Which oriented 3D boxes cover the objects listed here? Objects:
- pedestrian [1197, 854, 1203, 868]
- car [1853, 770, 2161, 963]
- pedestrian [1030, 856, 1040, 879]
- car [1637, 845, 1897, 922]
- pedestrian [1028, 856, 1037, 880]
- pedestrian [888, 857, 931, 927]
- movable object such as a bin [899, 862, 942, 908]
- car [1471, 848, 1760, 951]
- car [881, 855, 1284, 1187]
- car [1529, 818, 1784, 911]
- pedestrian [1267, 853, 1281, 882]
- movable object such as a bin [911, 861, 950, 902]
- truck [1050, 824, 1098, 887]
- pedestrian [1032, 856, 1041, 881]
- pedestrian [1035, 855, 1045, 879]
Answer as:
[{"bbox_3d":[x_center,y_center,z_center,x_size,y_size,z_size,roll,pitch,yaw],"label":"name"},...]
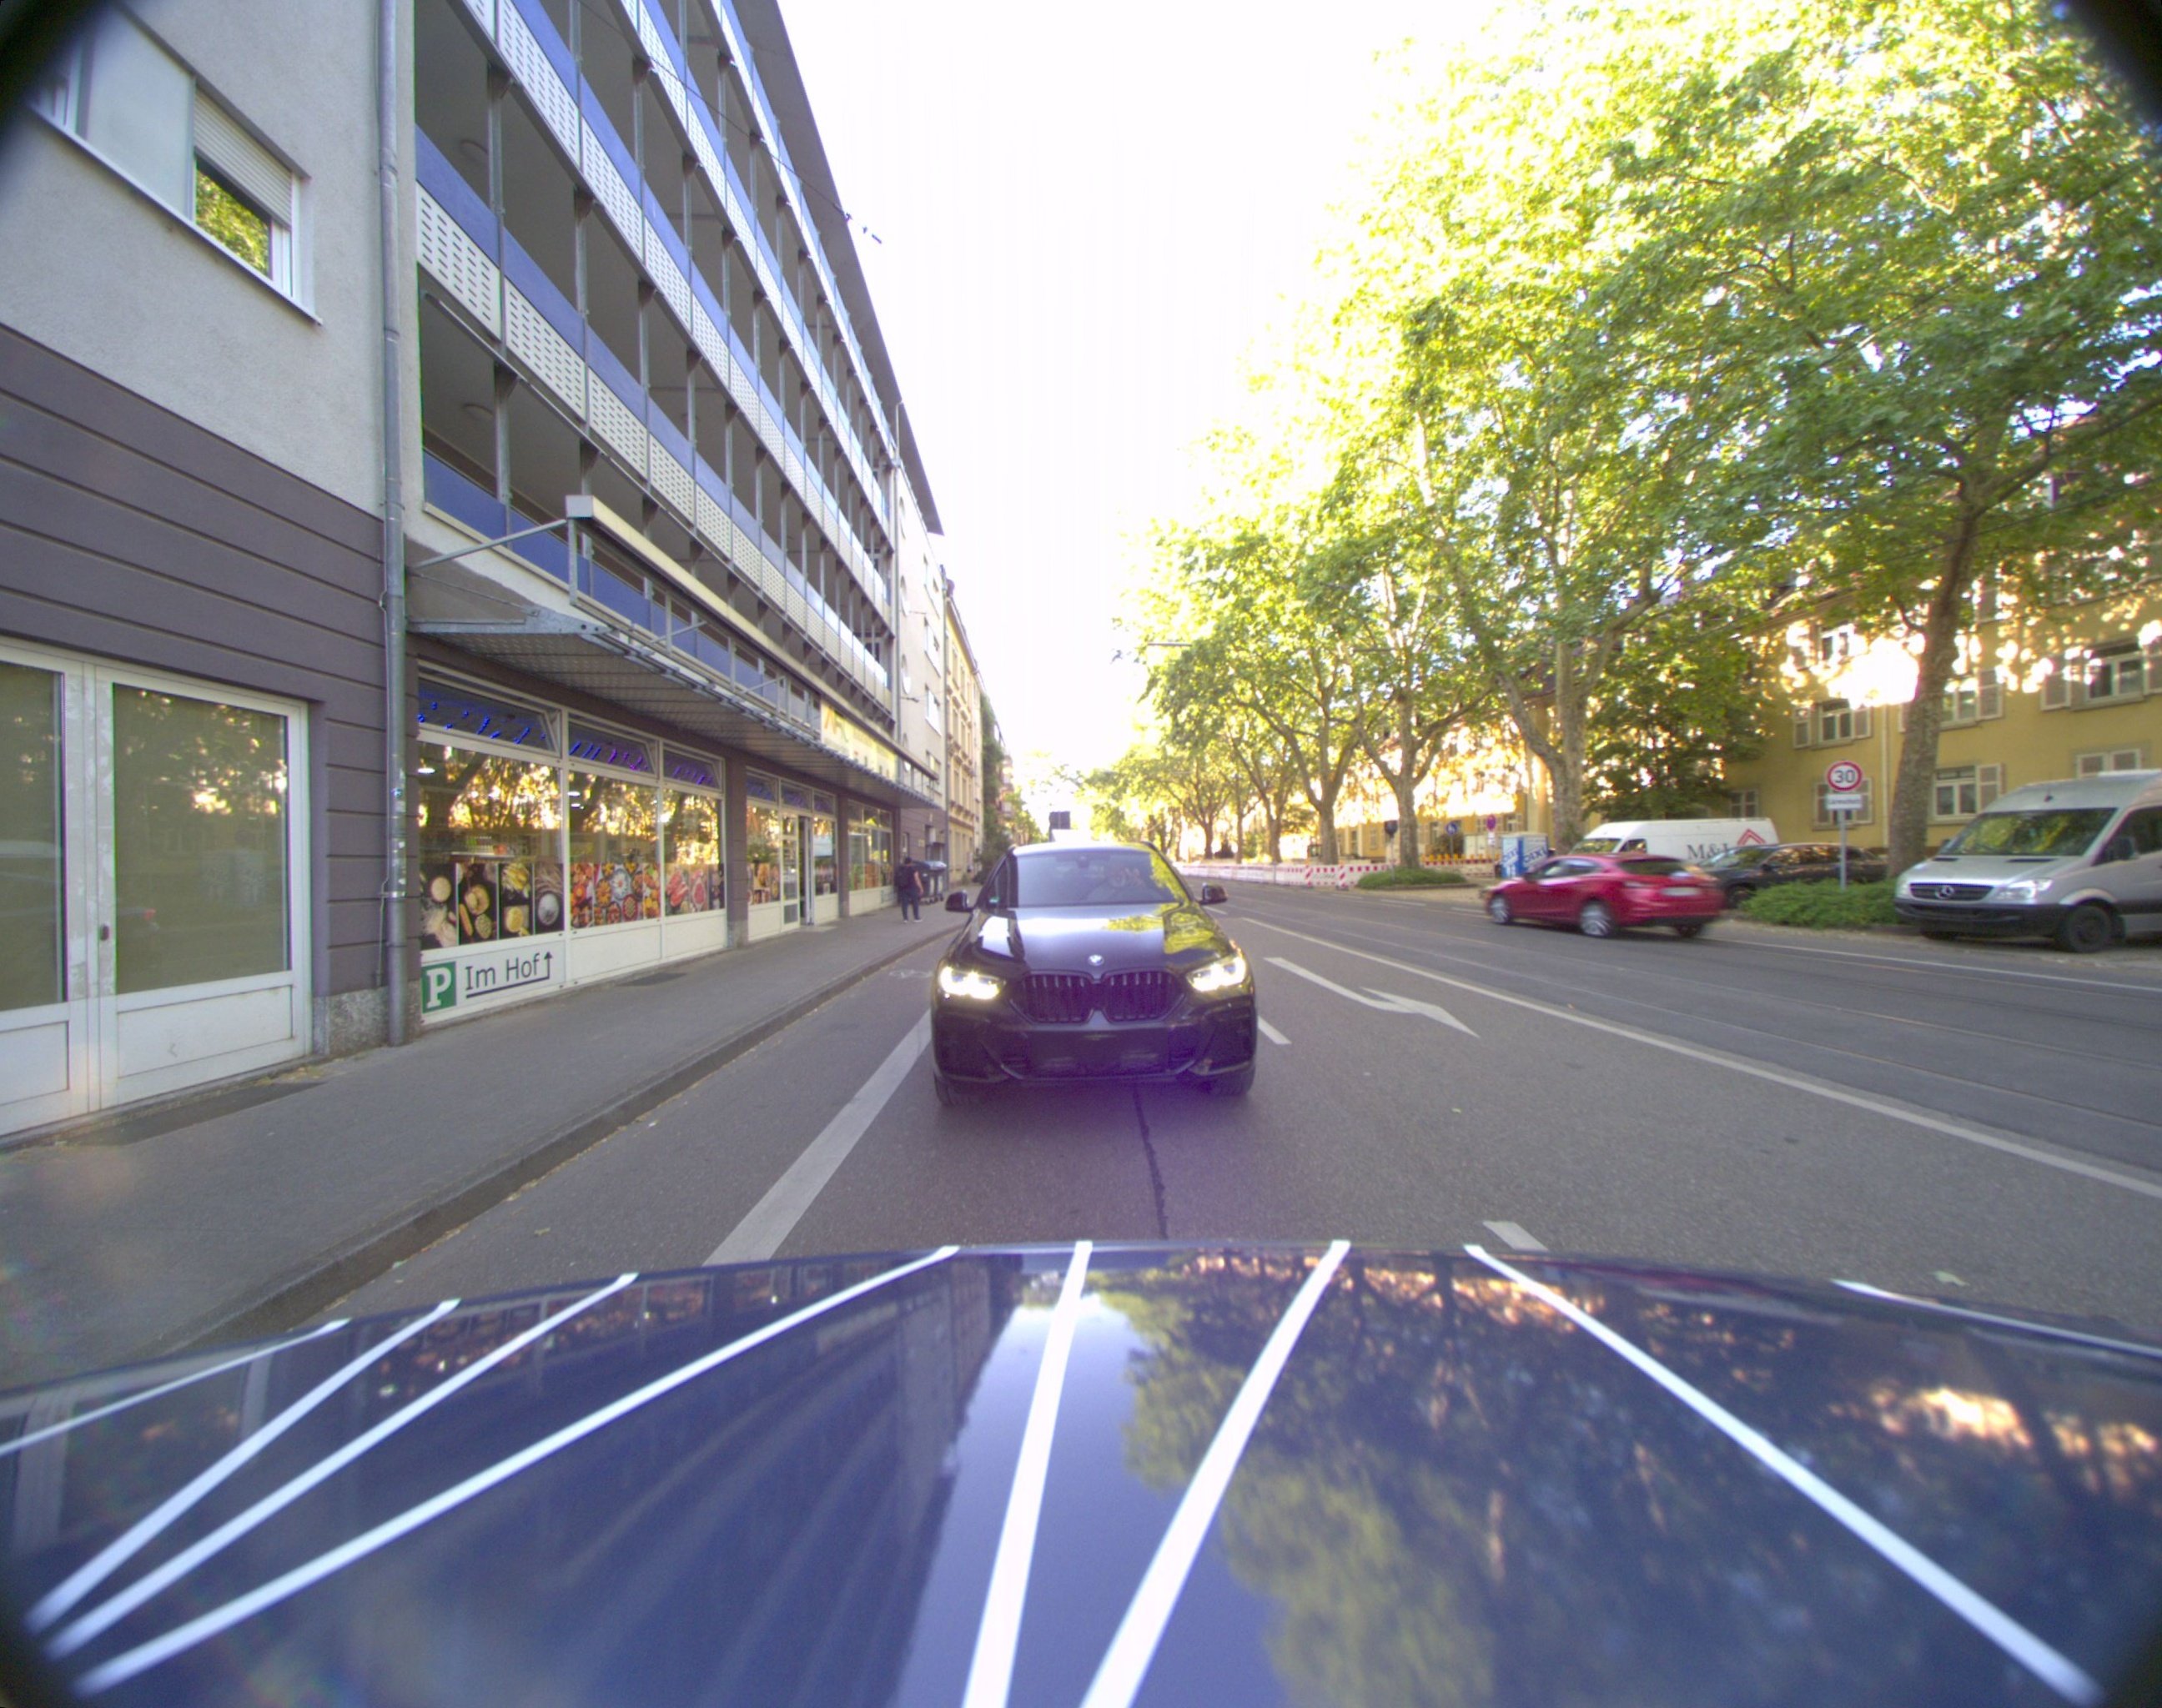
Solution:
[{"bbox_3d":[16.027,0.959,102.554,0.732,1.875,0.665,-2,1,8],"label":"pedestrian"},{"bbox_3d":[15.981,0.125,11.863,5.666,2.666,2.223,-2,0,-2],"label":"car"},{"bbox_3d":[-3.897,1.104,63.857,0.733,1.875,0.664,-2,1,-1],"label":"pedestrian"},{"bbox_3d":[16.075,0.654,17.945,4.627,1.642,1.774,-1,0,-2],"label":"car"},{"bbox_3d":[-3.947,1.129,61.733,0.600,1.875,0.581,-2,1,-1],"label":"pedestrian"},{"bbox_3d":[-3.973,0.866,17.609,0.864,1.582,0.622,-1,0,-5],"label":"pedestrian"},{"bbox_3d":[-5.206,0.991,24.652,1.158,1.418,0.939,-1,0,1],"label":"movable object such as a bin"},{"bbox_3d":[9.509,0.723,14.111,2.022,1.556,4.490,-1,0,-3],"label":"car"},{"bbox_3d":[0.038,0.847,5.967,1.998,1.643,4.295,-1,0,1],"label":"car"},{"bbox_3d":[15.841,0.286,21.152,5.404,2.362,2.223,-1,0,0],"label":"car"},{"bbox_3d":[11.681,0.830,45.986,0.652,1.735,0.583,-2,1,-3],"label":"pedestrian"},{"bbox_3d":[-5.286,0.951,26.690,1.158,1.418,0.939,-1,0,1],"label":"movable object such as a bin"},{"bbox_3d":[-0.318,0.118,42.128,2.394,3.170,6.587,-2,0,1],"label":"truck"},{"bbox_3d":[-3.444,1.140,59.023,0.600,1.875,0.581,-2,1,-1],"label":"pedestrian"},{"bbox_3d":[-3.423,1.077,62.996,0.733,1.875,0.664,-2,1,-1],"label":"pedestrian"}]
